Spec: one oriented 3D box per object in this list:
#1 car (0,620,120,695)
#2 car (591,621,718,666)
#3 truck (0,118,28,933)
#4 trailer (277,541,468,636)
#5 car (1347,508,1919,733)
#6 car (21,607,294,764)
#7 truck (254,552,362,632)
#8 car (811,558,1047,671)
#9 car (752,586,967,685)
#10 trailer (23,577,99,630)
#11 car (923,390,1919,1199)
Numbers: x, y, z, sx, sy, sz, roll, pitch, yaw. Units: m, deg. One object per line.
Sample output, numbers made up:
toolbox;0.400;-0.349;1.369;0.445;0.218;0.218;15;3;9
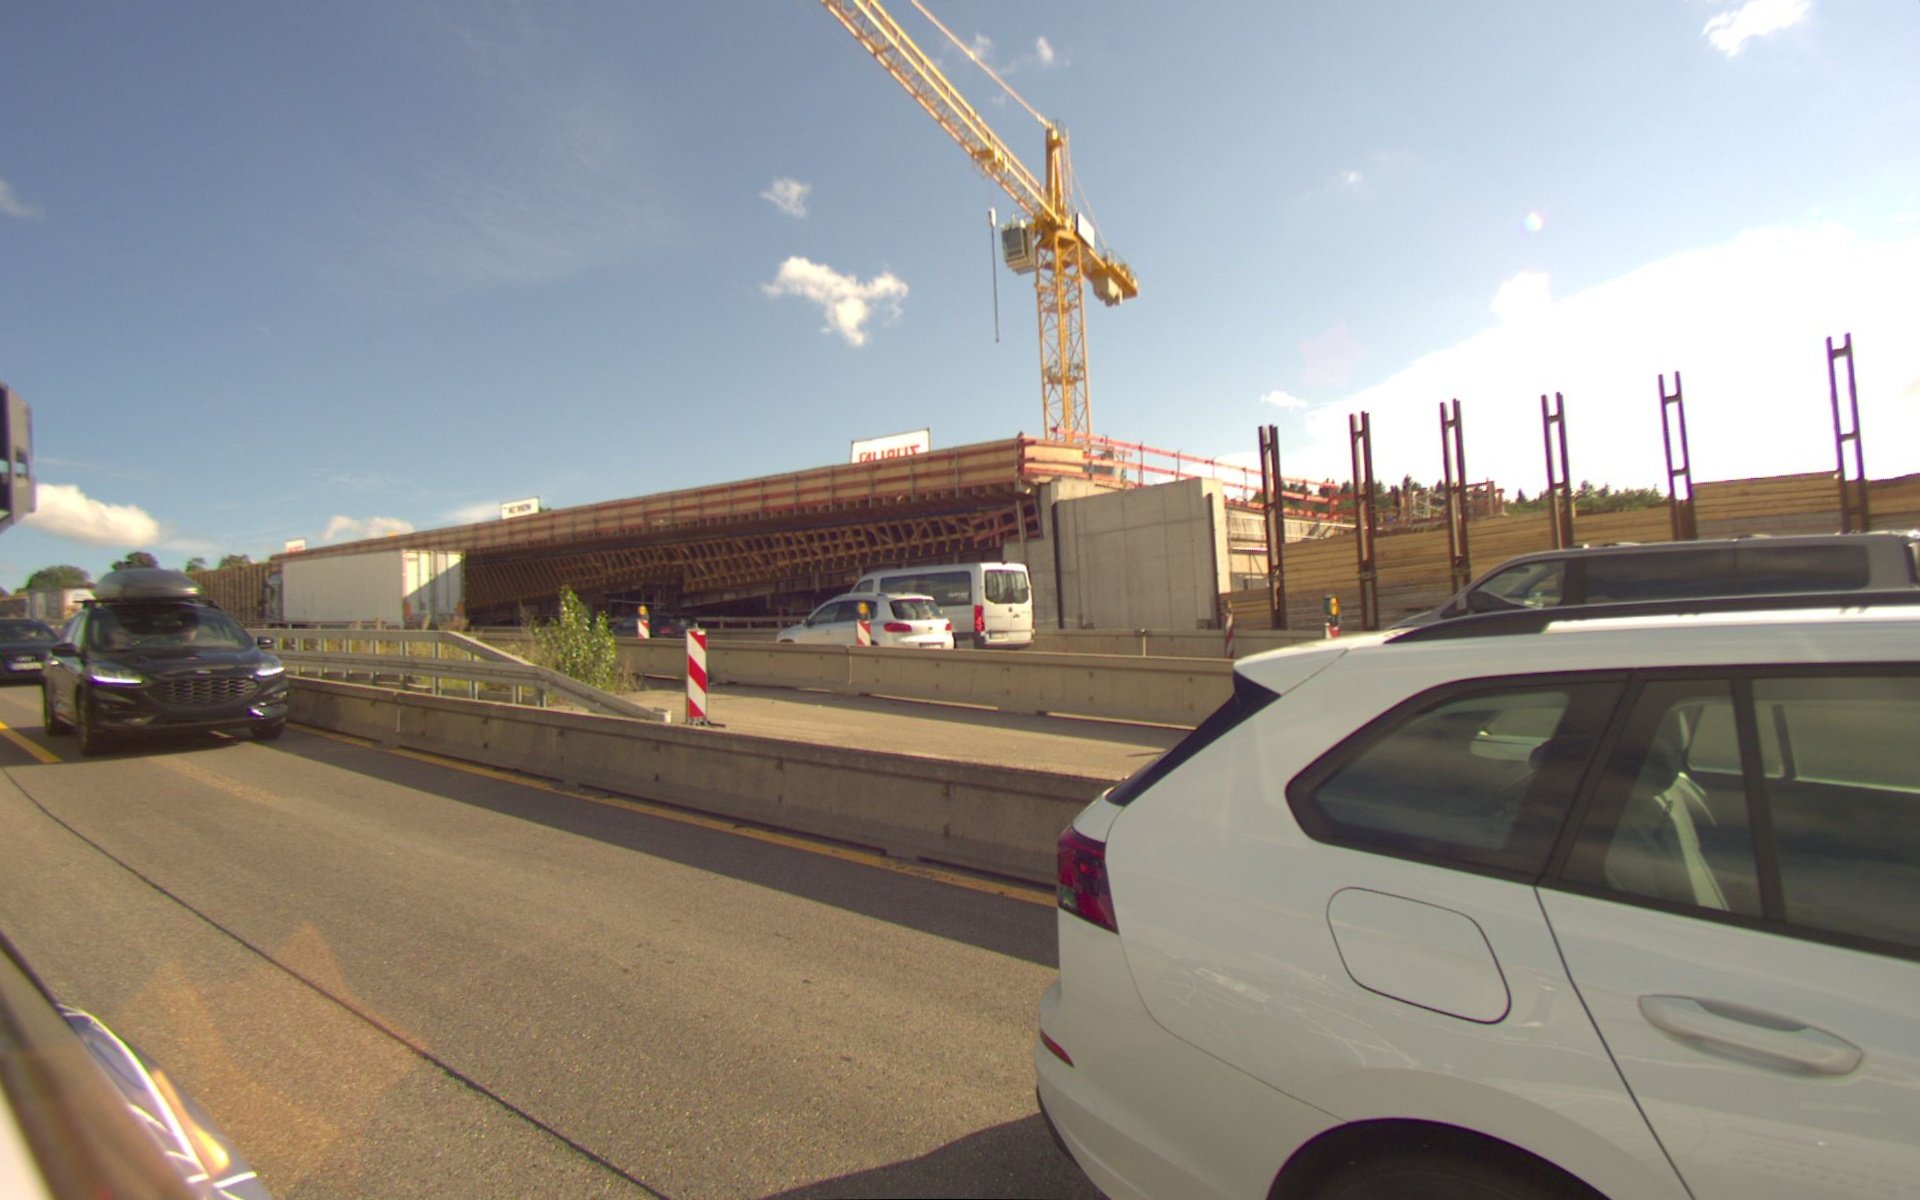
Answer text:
car;-20.945;1.235;23.319;4.506;1.441;1.923;0;1;44
car;-9.747;1.341;32.174;3.994;1.282;1.902;0;0;38
truck;-9.298;-0.315;7.151;10.308;3.876;2.630;0;0;40
trailer;-27.326;-0.447;46.550;13.786;3.870;2.794;0;0;39
car;6.908;0.183;10.412;2.100;1.779;5.037;-2;0;-41
car;-9.740;0.894;12.155;4.381;1.554;1.781;-1;-1;41
truck;-32.888;-0.390;50.985;6.010;3.817;2.750;0;0;38
car;-0.892;0.315;24.518;5.868;2.420;2.233;0;0;44
car;-2.084;0.657;20.017;2.100;1.686;4.278;-2;0;-41
trailer;-76.434;0.320;85.878;13.797;4.187;2.661;0;0;39
car;2.194;0.535;1.275;4.514;1.502;1.751;0;-1;41
